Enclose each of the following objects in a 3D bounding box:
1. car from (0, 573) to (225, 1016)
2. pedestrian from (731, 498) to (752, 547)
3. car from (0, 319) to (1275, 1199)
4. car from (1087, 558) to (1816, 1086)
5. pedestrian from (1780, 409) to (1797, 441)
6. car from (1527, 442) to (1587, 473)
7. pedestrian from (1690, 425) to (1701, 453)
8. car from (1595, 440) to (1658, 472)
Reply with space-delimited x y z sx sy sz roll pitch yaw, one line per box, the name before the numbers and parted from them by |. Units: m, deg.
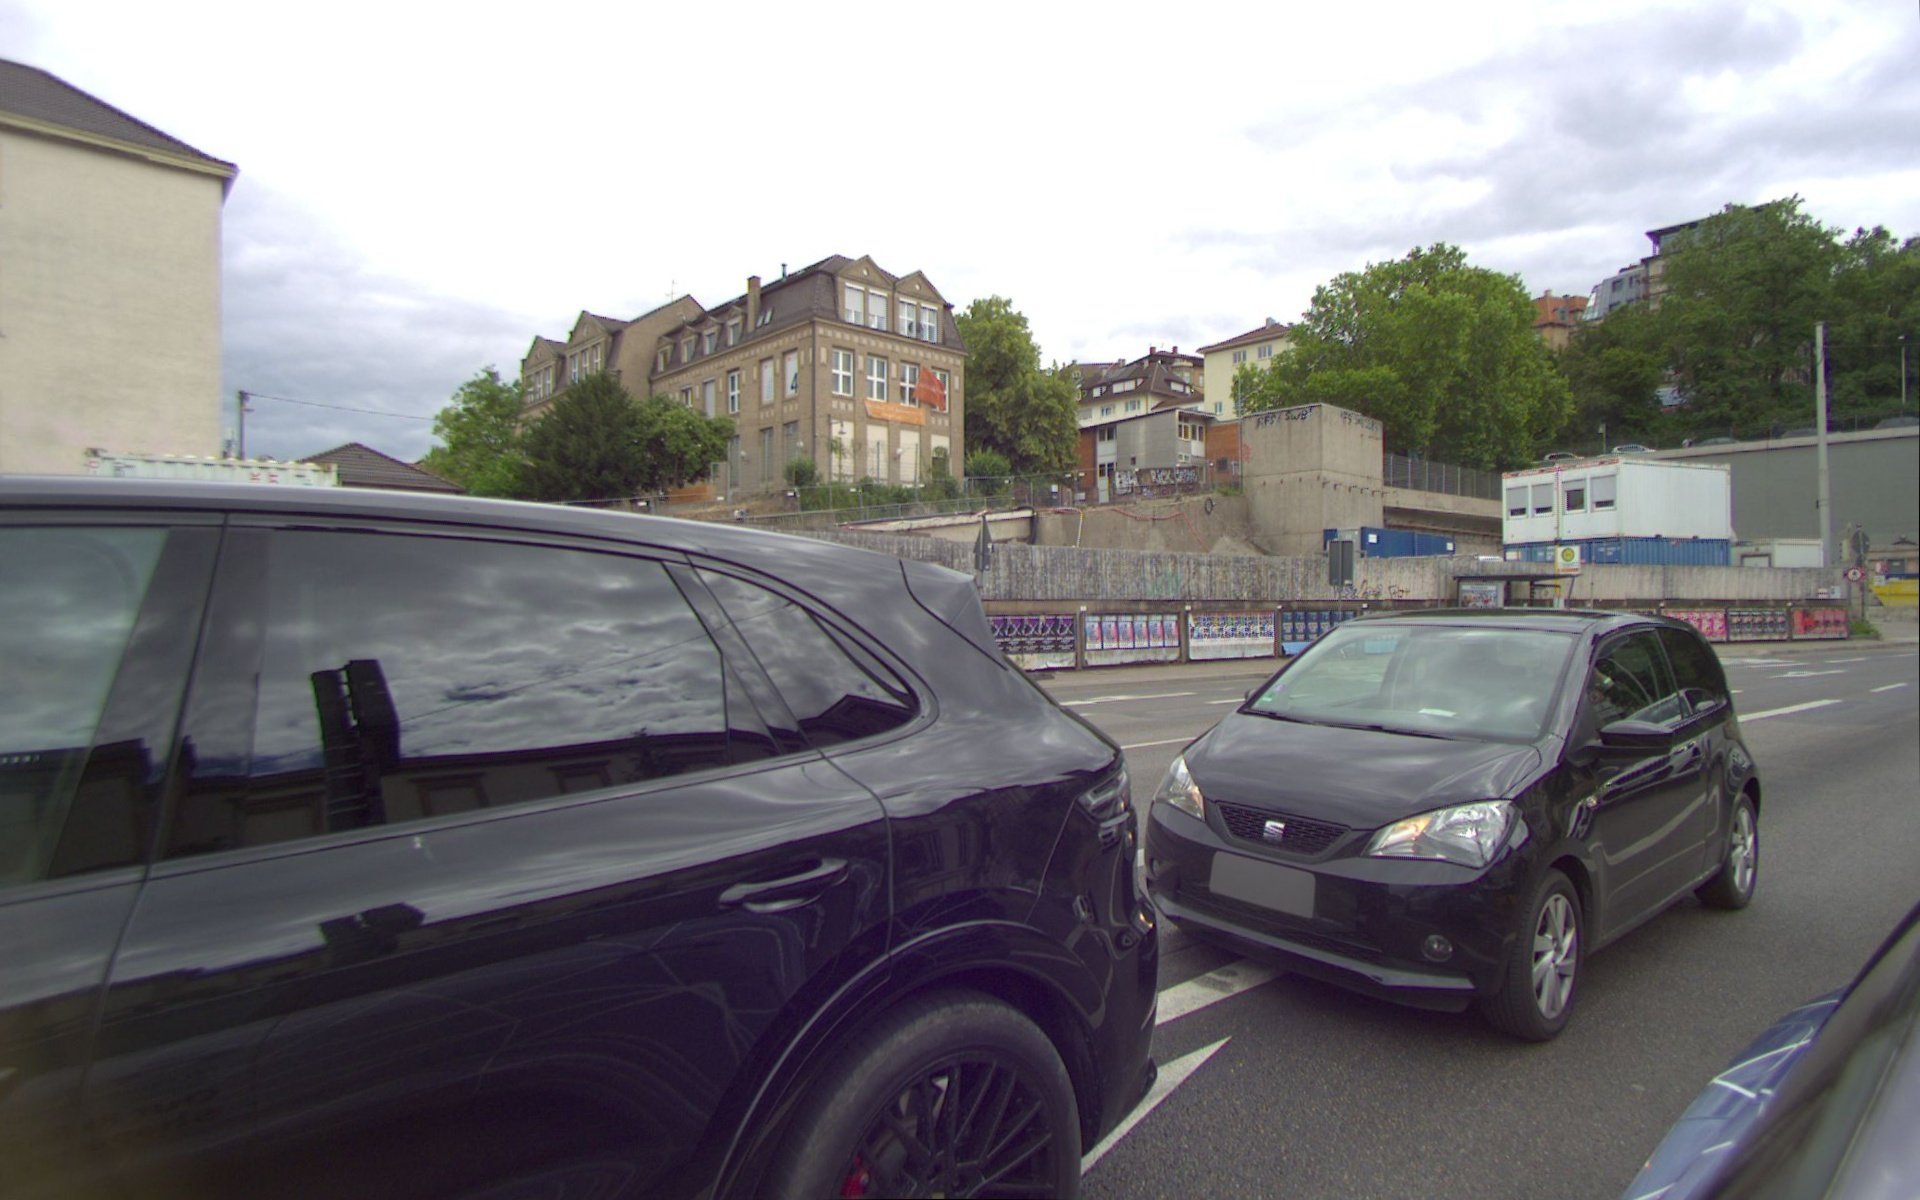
car | -4.888 0.693 3.416 3.812 1.563 1.667 0 -1 -40
pedestrian | -9.319 -3.295 43.157 0.656 2.039 0.644 0 0 -45
car | -1.627 0.583 1.696 4.552 1.707 1.959 0 -1 -40
car | 2.523 0.642 4.781 3.812 1.515 1.667 0 -1 -40
pedestrian | 58.753 -12.376 71.747 0.891 2.039 0.849 0 -1 -45
car | 50.267 -11.949 85.205 3.988 2.039 1.968 0 1 45
pedestrian | 56.738 -12.421 78.096 0.568 2.039 0.580 0 0 -44
car | 53.582 -11.541 81.415 3.988 2.039 1.968 0 1 45
